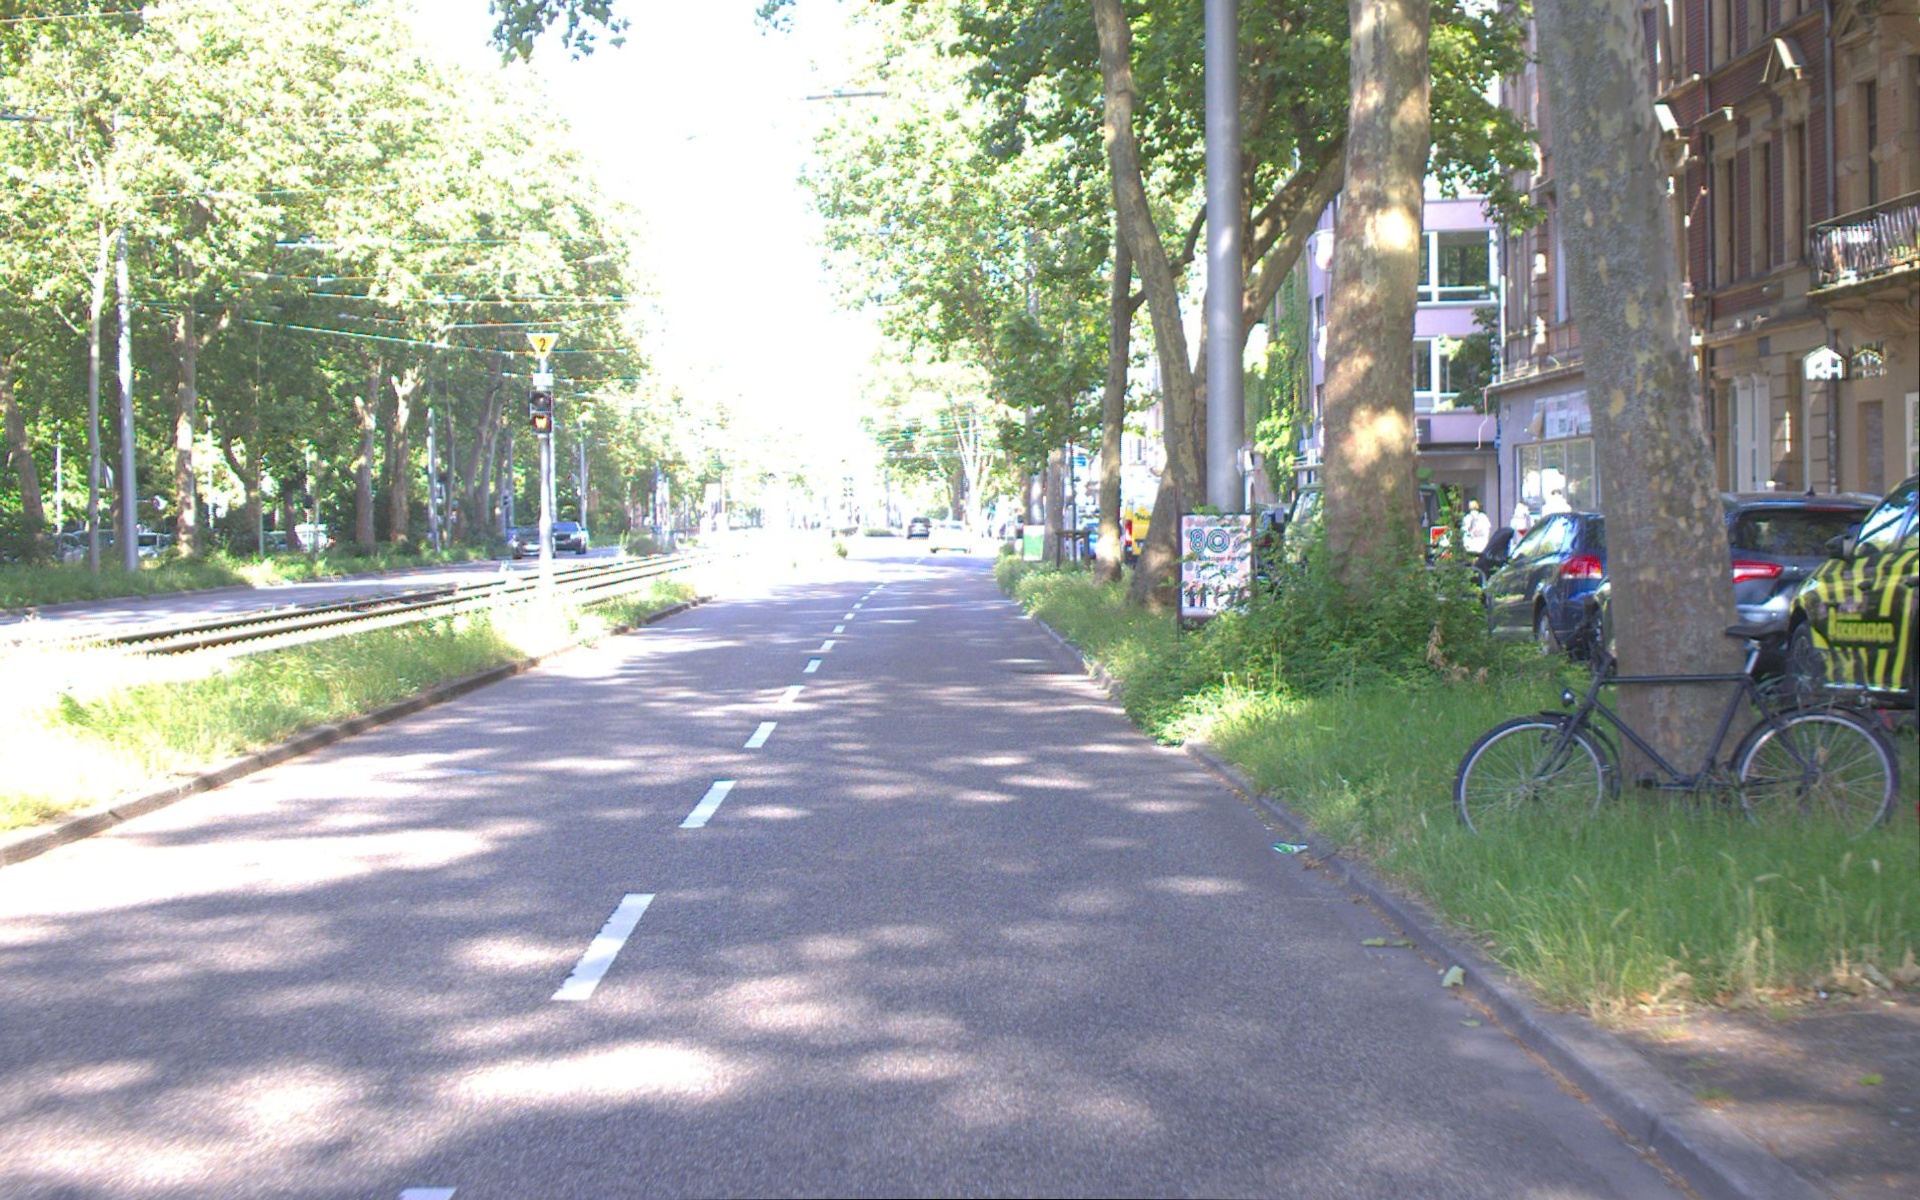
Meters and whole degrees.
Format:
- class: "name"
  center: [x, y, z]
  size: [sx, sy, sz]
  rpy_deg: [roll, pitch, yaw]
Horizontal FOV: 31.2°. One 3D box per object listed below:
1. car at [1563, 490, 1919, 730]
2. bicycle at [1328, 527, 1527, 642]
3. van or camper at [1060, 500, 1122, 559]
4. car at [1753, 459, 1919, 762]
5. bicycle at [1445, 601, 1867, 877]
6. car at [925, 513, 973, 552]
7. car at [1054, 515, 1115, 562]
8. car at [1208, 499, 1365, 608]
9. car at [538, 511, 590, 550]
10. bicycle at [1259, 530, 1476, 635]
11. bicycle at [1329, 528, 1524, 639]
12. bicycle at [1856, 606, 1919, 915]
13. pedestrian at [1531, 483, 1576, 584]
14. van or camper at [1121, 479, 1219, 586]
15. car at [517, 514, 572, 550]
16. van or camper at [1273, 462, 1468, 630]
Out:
- class: "car"
  center: [5.555, -0.007, 24.575]
  size: [1.695, 1.502, 4.582]
  rpy_deg: [-1, 2, 0]
- class: "bicycle"
  center: [5.381, -0.188, 39.696]
  size: [2.164, 1.290, 0.983]
  rpy_deg: [1, 1, 2]
- class: "van or camper"
  center: [4.460, -2.410, 117.464]
  size: [1.839, 1.956, 5.127]
  rpy_deg: [0, 1, -1]
- class: "car"
  center: [5.663, -0.007, 18.645]
  size: [1.695, 1.525, 4.262]
  rpy_deg: [-1, 2, -1]
- class: "bicycle"
  center: [2.721, 0.540, 13.528]
  size: [1.594, 1.055, 0.404]
  rpy_deg: [0, 1, 7]
- class: "car"
  center: [-0.501, -2.942, 148.727]
  size: [2.021, 1.656, 4.000]
  rpy_deg: [0, 1, -1]
- class: "car"
  center: [4.040, -2.009, 112.022]
  size: [1.683, 1.508, 3.668]
  rpy_deg: [0, 1, -3]
- class: "car"
  center: [5.297, -0.776, 56.331]
  size: [1.890, 1.641, 4.801]
  rpy_deg: [2, 1, -2]
- class: "car"
  center: [-20.177, -3.543, 175.295]
  size: [1.993, 1.864, 4.873]
  rpy_deg: [-2, 1, 1]
- class: "bicycle"
  center: [5.148, -0.225, 43.508]
  size: [2.548, 1.290, 0.975]
  rpy_deg: [0, 1, -7]
- class: "bicycle"
  center: [5.524, -0.206, 40.846]
  size: [2.164, 1.290, 0.983]
  rpy_deg: [1, 1, 0]
- class: "bicycle"
  center: [3.626, 0.474, 10.889]
  size: [1.759, 0.924, 0.654]
  rpy_deg: [-2, 2, -41]
- class: "pedestrian"
  center: [10.791, -1.215, 62.483]
  size: [0.702, 1.816, 0.612]
  rpy_deg: [0, 1, 0]
- class: "van or camper"
  center: [5.115, -1.653, 84.490]
  size: [2.184, 2.472, 6.268]
  rpy_deg: [2, 1, 2]
- class: "car"
  center: [-18.319, -3.001, 151.676]
  size: [1.795, 1.503, 4.339]
  rpy_deg: [-3, 1, 1]
- class: "van or camper"
  center: [5.521, -0.743, 46.810]
  size: [1.833, 2.090, 4.775]
  rpy_deg: [2, 1, -2]
